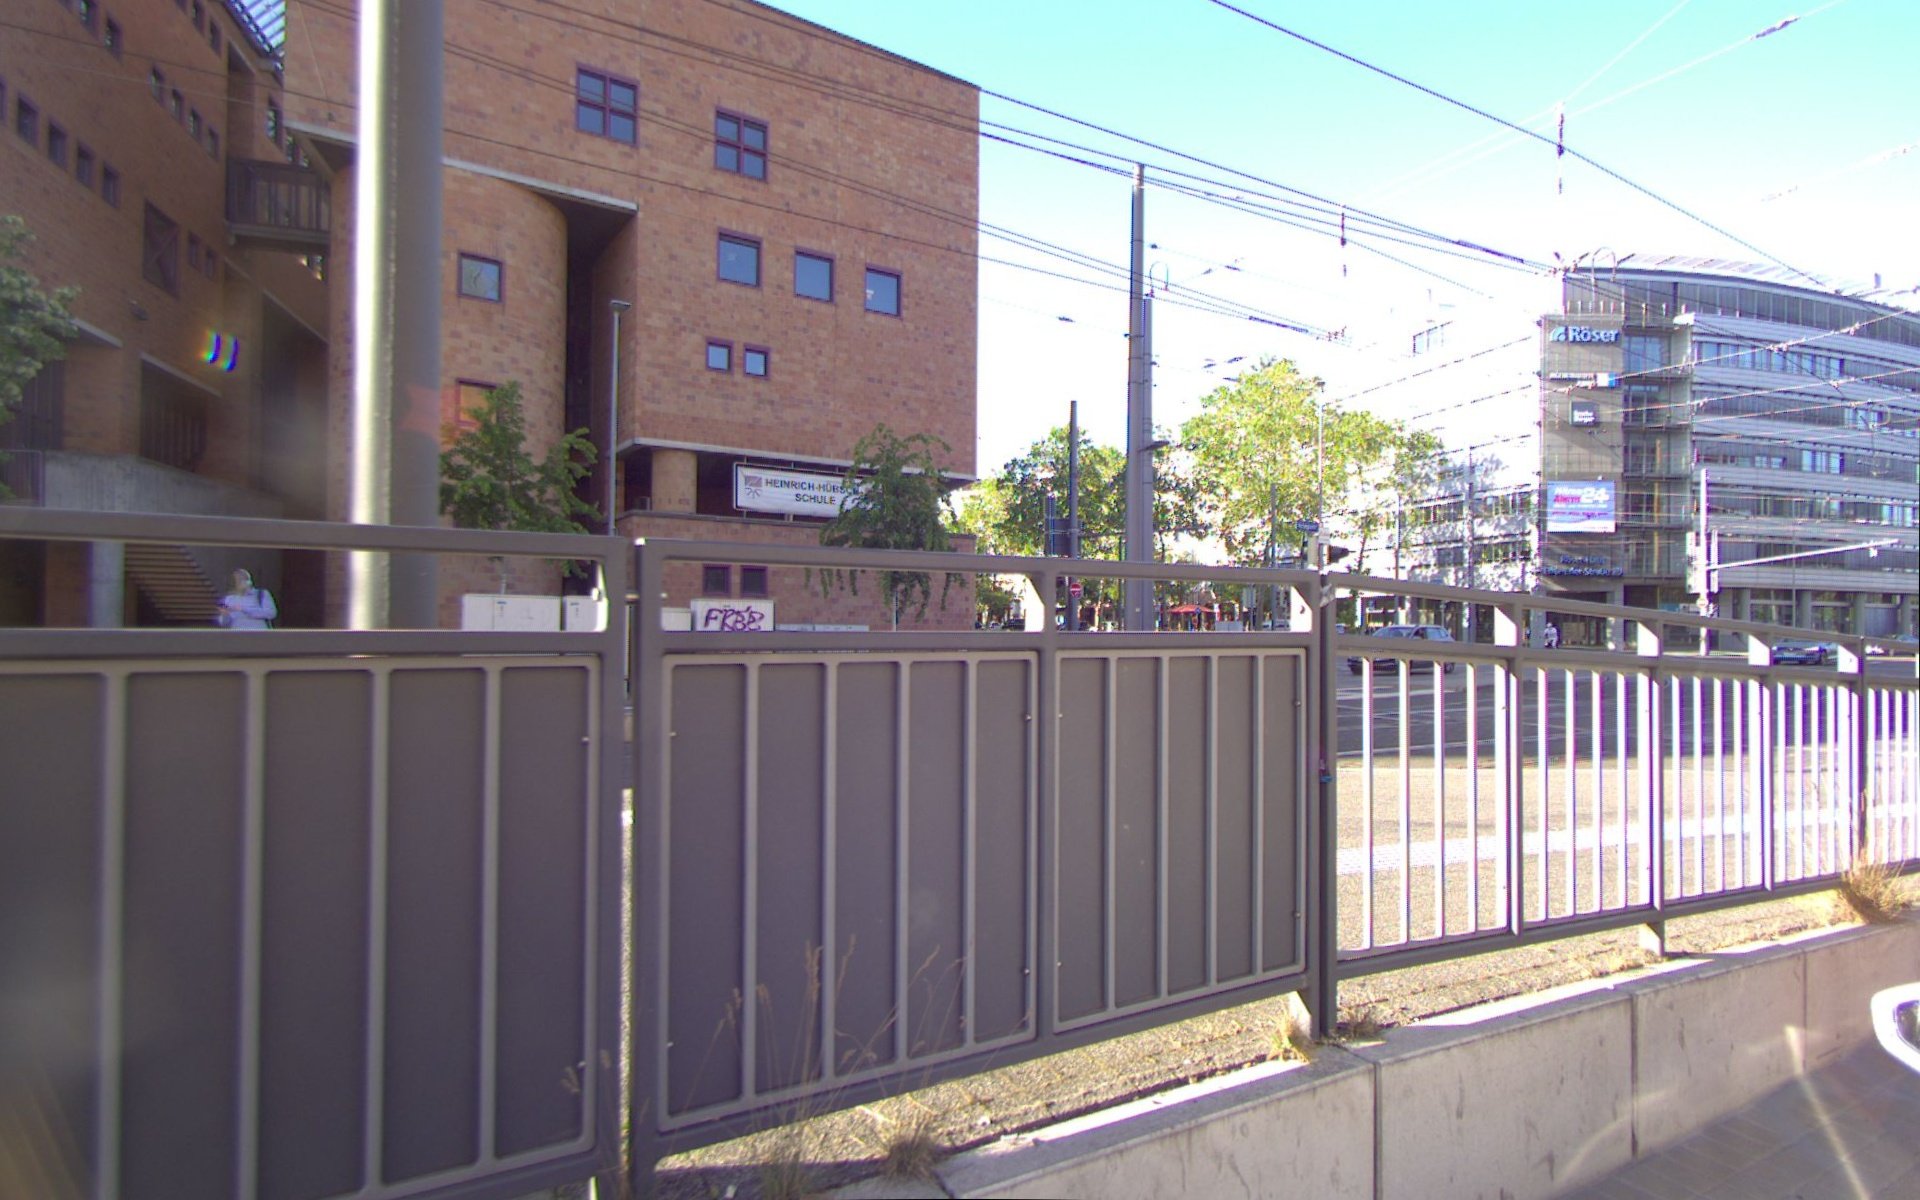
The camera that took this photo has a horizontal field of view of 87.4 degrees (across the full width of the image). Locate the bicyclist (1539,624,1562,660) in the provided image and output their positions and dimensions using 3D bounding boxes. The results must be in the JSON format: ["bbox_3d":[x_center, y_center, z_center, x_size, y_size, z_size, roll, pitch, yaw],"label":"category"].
[{"bbox_3d":[26.301,1.865,44.747,0.642,1.554,0.584,2,0,-30],"label":"bicyclist"}]

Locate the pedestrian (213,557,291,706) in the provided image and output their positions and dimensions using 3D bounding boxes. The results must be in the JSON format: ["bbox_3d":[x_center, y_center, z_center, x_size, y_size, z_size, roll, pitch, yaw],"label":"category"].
[{"bbox_3d":[-8.166,0.360,11.609,0.679,1.656,0.662,2,0,-34],"label":"pedestrian"}]

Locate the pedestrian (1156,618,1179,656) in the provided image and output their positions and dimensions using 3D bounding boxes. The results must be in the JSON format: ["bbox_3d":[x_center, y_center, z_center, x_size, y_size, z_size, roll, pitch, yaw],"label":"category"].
[{"bbox_3d":[9.592,1.706,46.402,0.785,1.714,0.587,2,0,-29],"label":"pedestrian"}]

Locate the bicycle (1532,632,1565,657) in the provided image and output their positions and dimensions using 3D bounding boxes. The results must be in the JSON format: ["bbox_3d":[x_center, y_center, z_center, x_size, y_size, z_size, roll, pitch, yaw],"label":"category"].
[{"bbox_3d":[26.215,1.974,44.727,1.793,1.104,0.458,2,-3,-30],"label":"bicycle"}]

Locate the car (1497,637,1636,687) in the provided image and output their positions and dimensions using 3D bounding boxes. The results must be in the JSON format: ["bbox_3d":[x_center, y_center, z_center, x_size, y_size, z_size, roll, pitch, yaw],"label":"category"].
[{"bbox_3d":[15.282,1.531,25.349,2.841,1.077,1.237,2,0,40],"label":"car"}]

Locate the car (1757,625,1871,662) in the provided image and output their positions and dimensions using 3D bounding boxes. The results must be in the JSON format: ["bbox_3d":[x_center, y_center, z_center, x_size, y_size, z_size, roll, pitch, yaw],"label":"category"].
[{"bbox_3d":[37.866,1.930,44.549,4.623,1.589,1.823,1,-2,-20],"label":"car"}]

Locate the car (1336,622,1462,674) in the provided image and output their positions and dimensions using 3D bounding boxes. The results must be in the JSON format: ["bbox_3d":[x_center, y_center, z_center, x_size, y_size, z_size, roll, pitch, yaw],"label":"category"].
[{"bbox_3d":[14.265,1.552,32.559,4.198,1.589,1.814,2,-2,-34],"label":"car"}]
